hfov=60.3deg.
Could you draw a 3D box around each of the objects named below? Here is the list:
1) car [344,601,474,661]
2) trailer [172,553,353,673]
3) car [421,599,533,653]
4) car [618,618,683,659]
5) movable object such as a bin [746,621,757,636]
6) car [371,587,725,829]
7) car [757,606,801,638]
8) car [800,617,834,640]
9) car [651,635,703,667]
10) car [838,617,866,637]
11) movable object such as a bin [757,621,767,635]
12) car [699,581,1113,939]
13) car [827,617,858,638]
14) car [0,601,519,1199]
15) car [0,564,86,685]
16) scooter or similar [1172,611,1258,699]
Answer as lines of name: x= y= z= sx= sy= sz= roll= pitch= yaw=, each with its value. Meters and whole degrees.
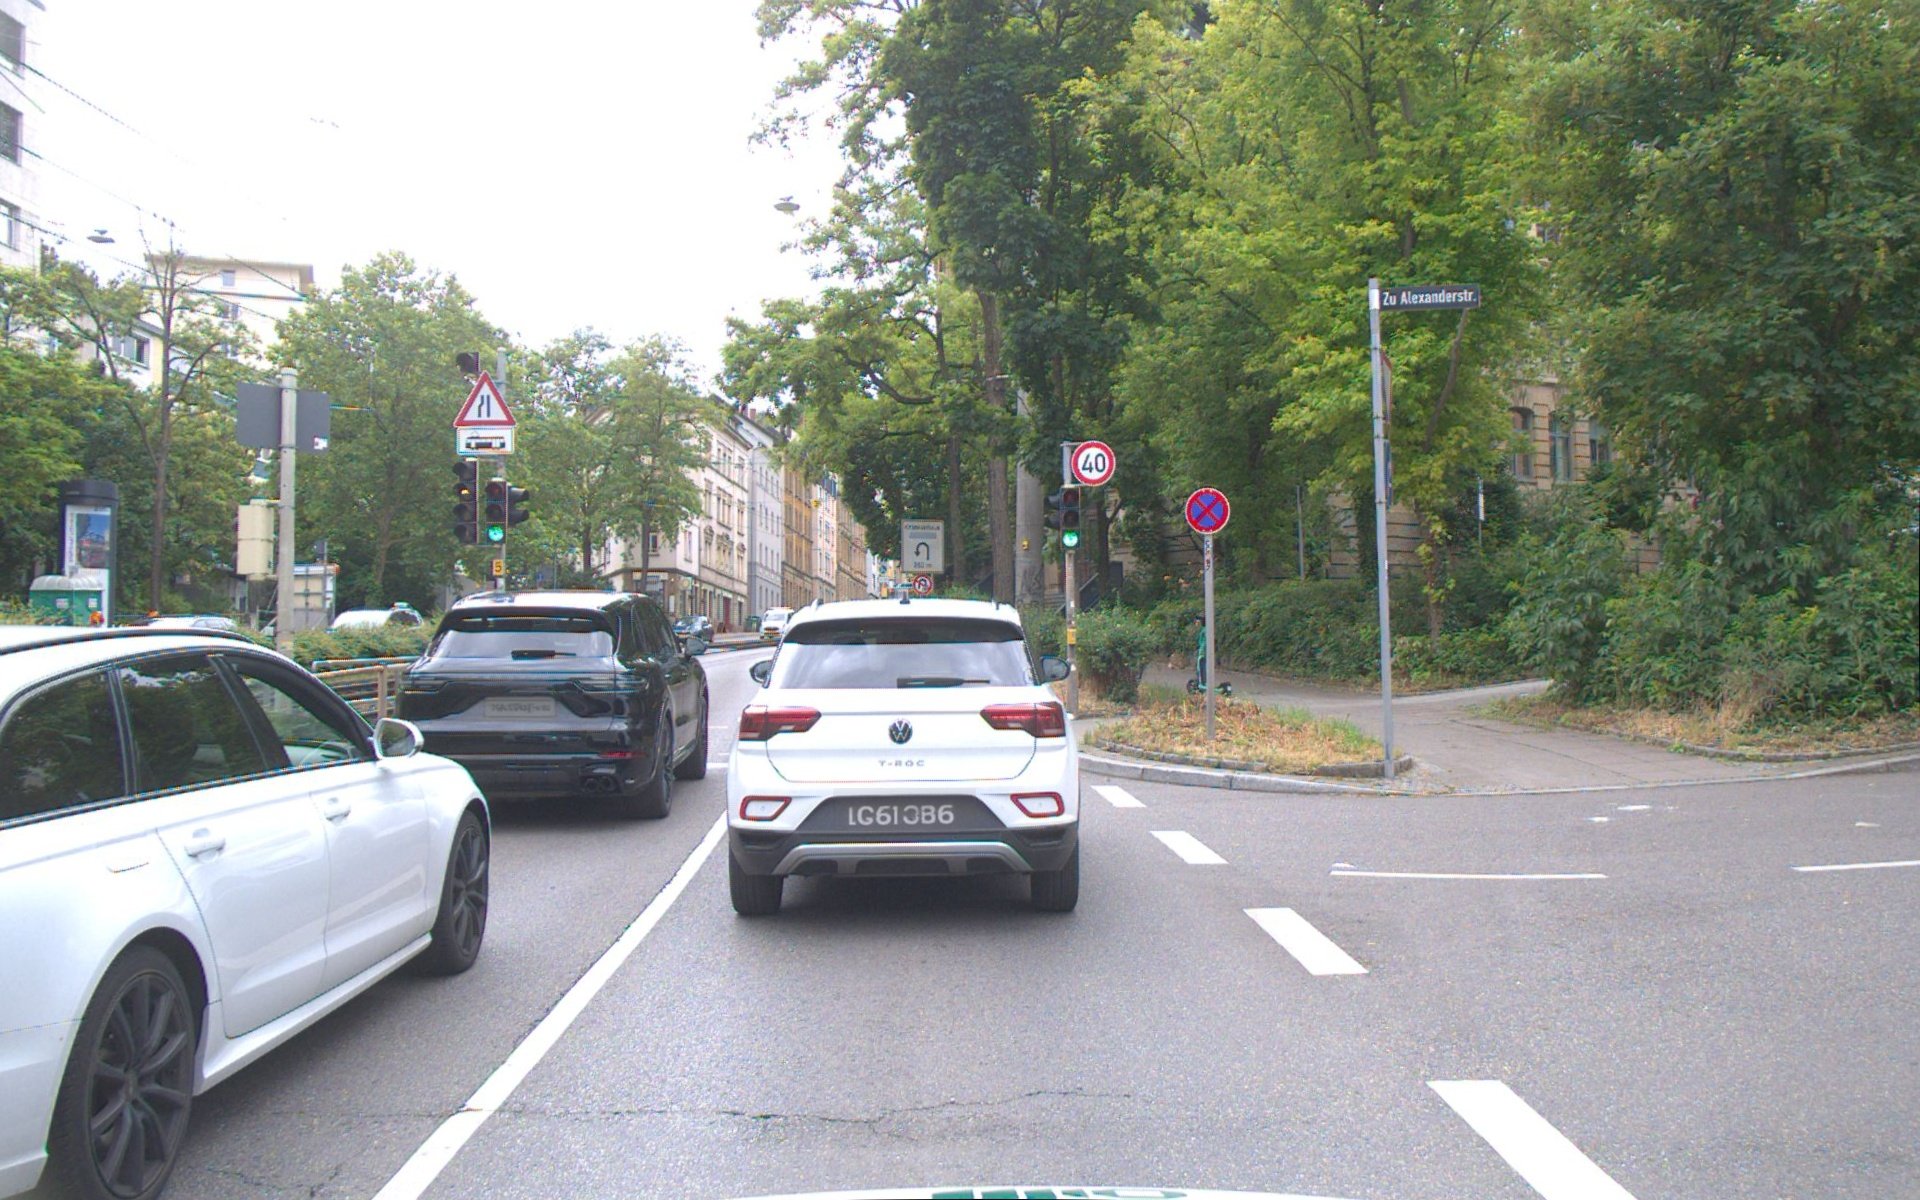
car: x=-15.944 y=0.873 z=48.116 sx=1.952 sy=1.633 sz=4.622 roll=-1 pitch=0 yaw=4
trailer: x=-18.700 y=0.358 z=44.708 sx=1.976 sy=3.025 sz=5.593 roll=1 pitch=-1 yaw=6
car: x=-15.444 y=0.804 z=53.140 sx=1.952 sy=1.633 sz=4.612 roll=-1 pitch=0 yaw=4
car: x=-13.083 y=1.609 z=70.071 sx=1.953 sy=1.646 sz=4.000 roll=-1 pitch=-1 yaw=0
movable object such as a bin: x=-15.891 y=2.182 z=126.191 sx=0.672 sy=1.093 sz=0.677 roll=0 pitch=-1 yaw=4
car: x=-3.075 y=0.744 z=13.319 sx=1.997 sy=1.599 sz=4.354 roll=-1 pitch=-1 yaw=-4
car: x=-11.603 y=1.362 z=106.261 sx=1.906 sy=1.980 sz=5.005 roll=-1 pitch=0 yaw=4
car: x=-10.450 y=2.057 z=121.018 sx=1.952 sy=1.579 sz=4.001 roll=-1 pitch=-1 yaw=2
car: x=-13.929 y=2.496 z=81.631 sx=1.730 sy=1.432 sz=4.083 roll=-1 pitch=0 yaw=2
car: x=-9.152 y=2.278 z=140.027 sx=1.952 sy=1.579 sz=4.001 roll=-1 pitch=-1 yaw=2
movable object such as a bin: x=-15.610 y=2.233 z=130.423 sx=0.712 sy=1.093 sz=0.672 roll=0 pitch=-1 yaw=4
car: x=-0.282 y=0.736 z=9.421 sx=1.841 sy=1.582 sz=3.999 roll=-1 pitch=-1 yaw=-1
car: x=-9.222 y=2.173 z=130.079 sx=1.952 sy=1.579 sz=4.001 roll=-1 pitch=-1 yaw=2
car: x=-2.878 y=0.773 z=5.183 sx=1.841 sy=1.480 sz=4.616 roll=-1 pitch=-1 yaw=-1
car: x=-21.890 y=0.550 z=36.004 sx=2.112 sy=2.639 sz=6.338 roll=-1 pitch=0 yaw=2
scooter or similar: x=3.714 y=0.790 z=24.190 sx=0.620 sy=1.231 sz=1.550 roll=-1 pitch=-1 yaw=-16
